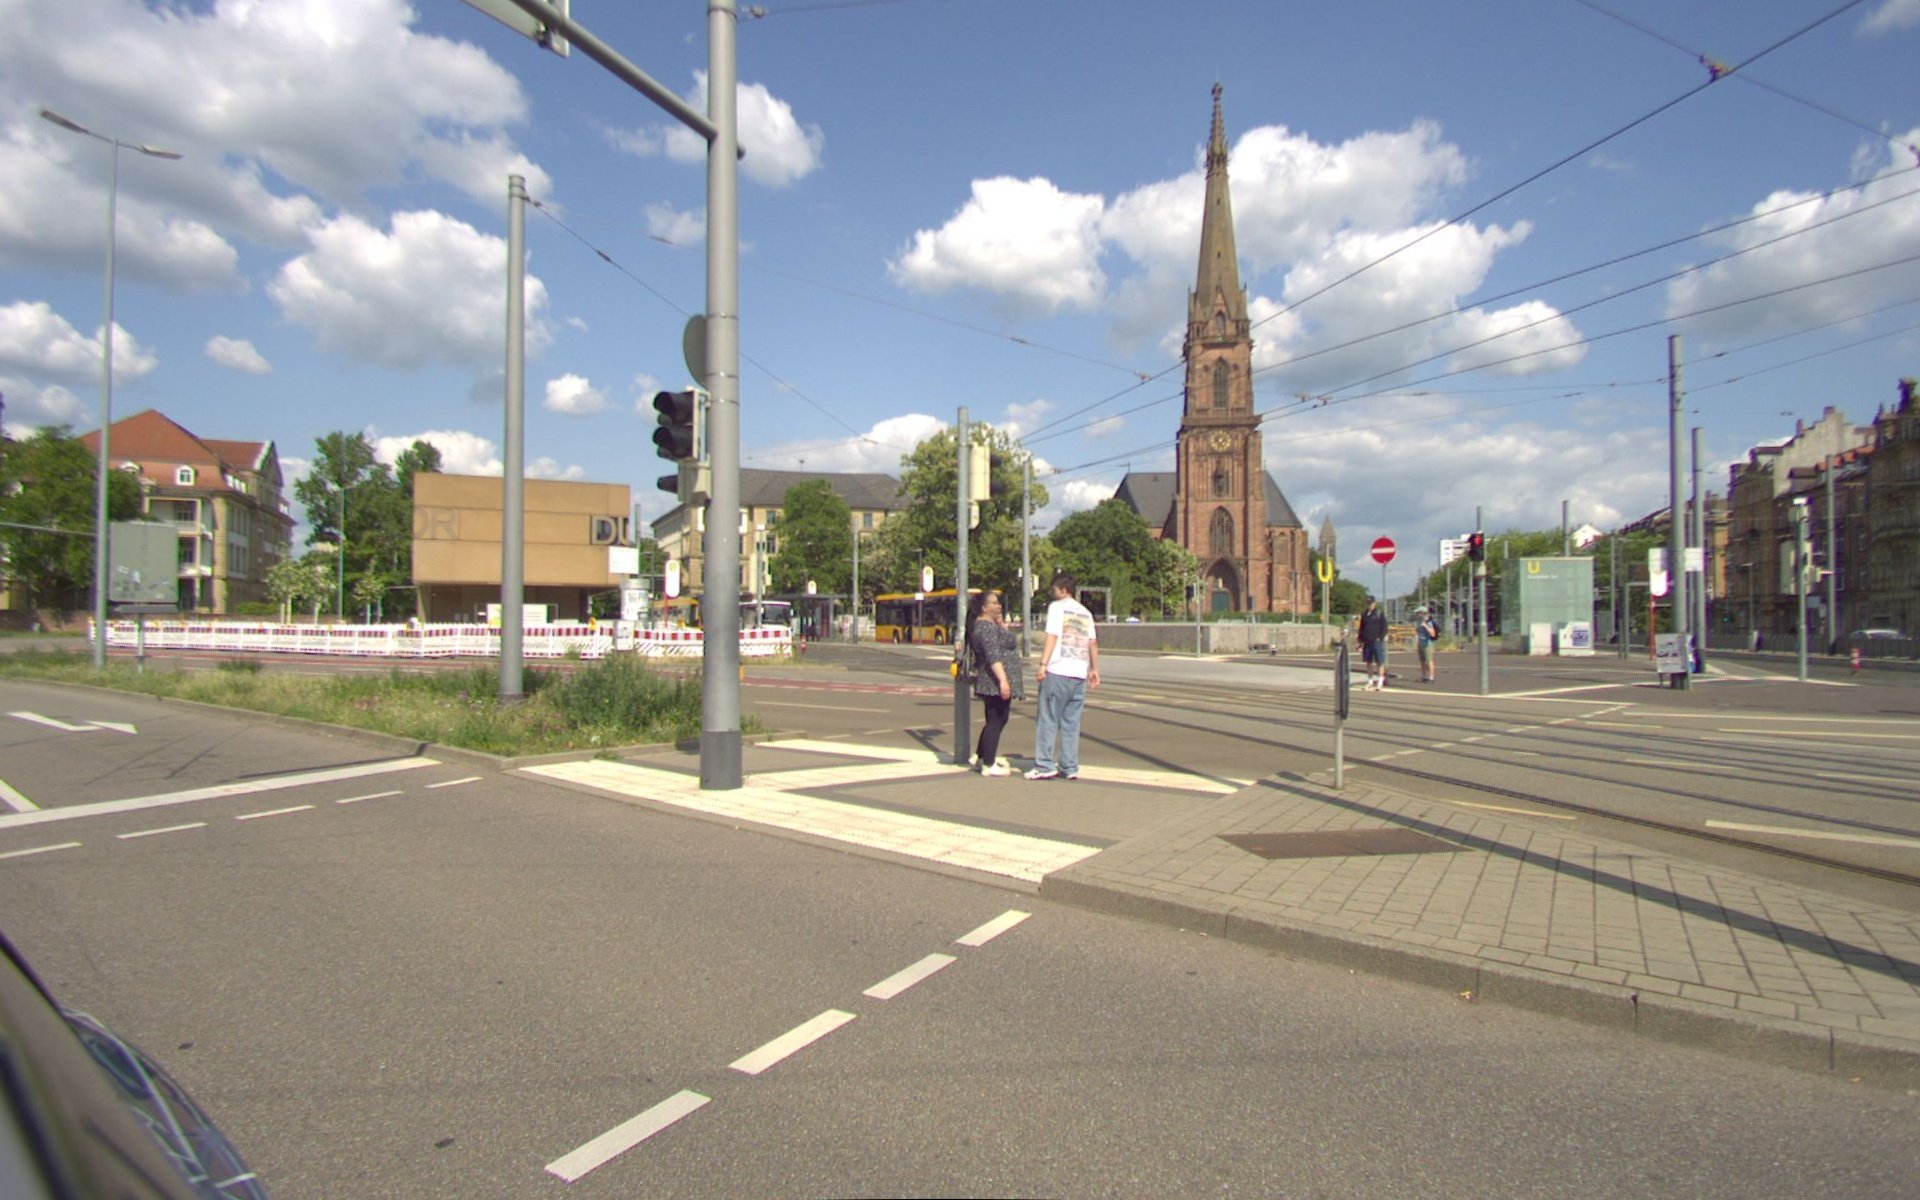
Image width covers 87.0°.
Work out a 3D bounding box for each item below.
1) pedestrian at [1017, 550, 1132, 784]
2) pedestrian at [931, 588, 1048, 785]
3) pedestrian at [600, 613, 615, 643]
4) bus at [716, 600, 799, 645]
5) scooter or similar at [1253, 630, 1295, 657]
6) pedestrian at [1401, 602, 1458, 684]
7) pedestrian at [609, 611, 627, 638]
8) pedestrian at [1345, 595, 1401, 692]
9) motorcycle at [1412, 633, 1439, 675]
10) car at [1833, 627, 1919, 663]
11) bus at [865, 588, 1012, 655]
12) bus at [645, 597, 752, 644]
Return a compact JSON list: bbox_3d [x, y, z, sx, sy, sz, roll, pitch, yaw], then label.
[{"bbox_3d":[1.021,0.563,8.905,0.690,1.931,0.840,0,-2,34],"label":"pedestrian"},{"bbox_3d":[0.276,0.737,9.063,0.690,1.660,0.840,0,-2,34],"label":"pedestrian"},{"bbox_3d":[-19.513,1.547,56.037,0.720,1.642,0.561,1,-1,-26],"label":"pedestrian"},{"bbox_3d":[-18.716,2.143,92.034,3.546,3.660,18.932,1,-2,-23],"label":"bus"},{"bbox_3d":[13.989,1.912,45.069,1.617,1.114,0.855,-1,0,-23],"label":"scooter or similar"},{"bbox_3d":[10.650,0.952,22.977,1.027,1.811,0.758,0,0,38],"label":"pedestrian"},{"bbox_3d":[-20.336,1.454,60.163,0.761,1.644,0.648,0,-1,23],"label":"pedestrian"},{"bbox_3d":[8.353,0.856,20.480,0.816,1.917,0.767,0,0,3],"label":"pedestrian"},{"bbox_3d":[14.116,1.618,30.646,0.483,1.246,1.429,0,-2,36],"label":"motorcycle"},{"bbox_3d":[40.991,1.979,45.011,1.986,1.540,4.064,-1,-2,21],"label":"car"},{"bbox_3d":[-1.513,1.186,53.920,2.785,3.160,12.882,1,-2,-25],"label":"bus"},{"bbox_3d":[-21.069,1.677,79.543,3.416,3.208,23.855,1,-2,-26],"label":"bus"}]
